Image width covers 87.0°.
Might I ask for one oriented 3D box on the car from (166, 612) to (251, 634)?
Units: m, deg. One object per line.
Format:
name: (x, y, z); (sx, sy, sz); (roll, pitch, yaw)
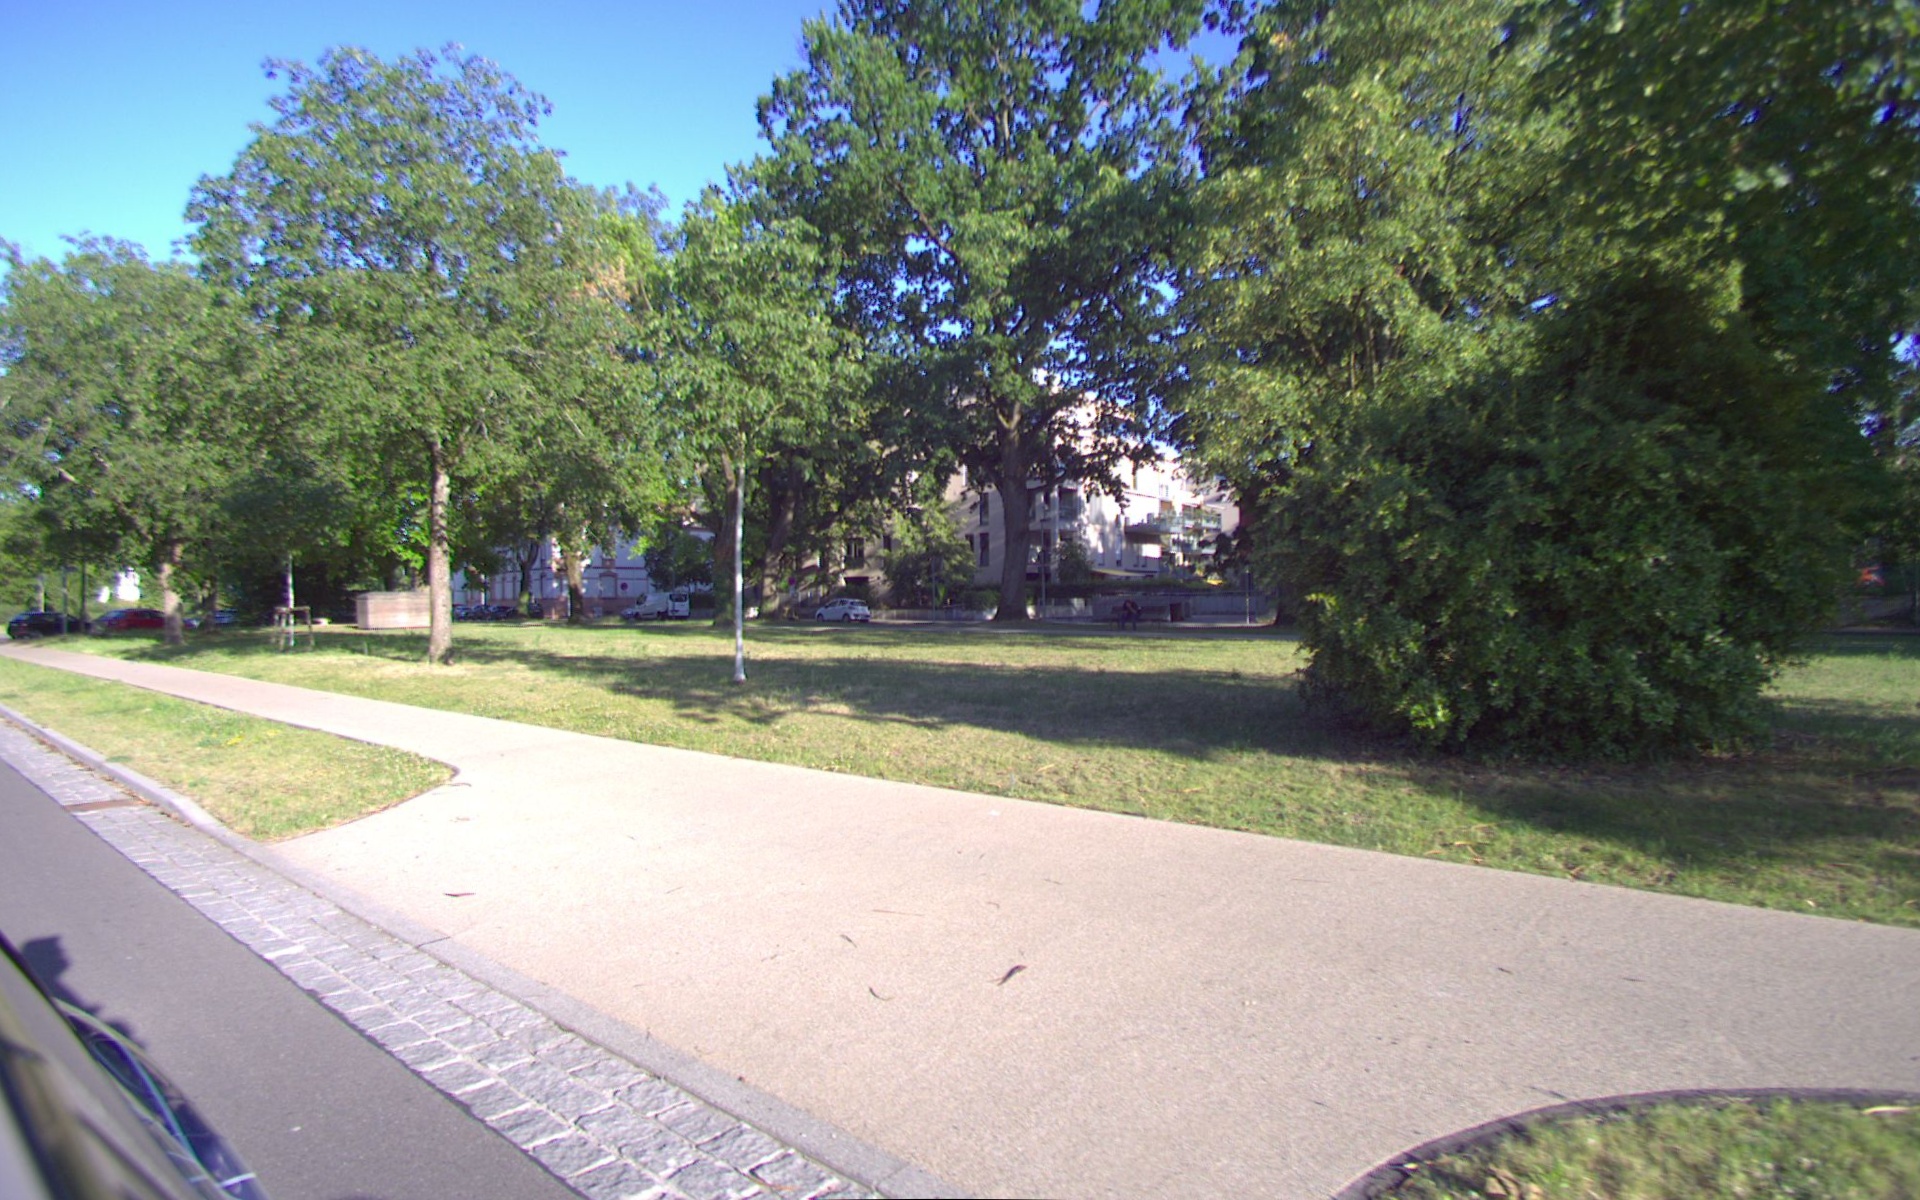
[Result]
car: (-49.631, 1.498, 66.951); (1.825, 1.411, 4.250); (0, 0, 19)

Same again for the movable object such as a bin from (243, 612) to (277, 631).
movable object such as a bin: (-37.225, 1.118, 53.823); (0.950, 0.997, 1.314); (0, 0, 44)

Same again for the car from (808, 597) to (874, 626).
car: (-7.183, 0.684, 61.116); (3.736, 1.630, 1.973); (-1, 0, 41)

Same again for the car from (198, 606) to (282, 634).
car: (-44.731, 1.235, 62.961); (1.877, 1.586, 3.973); (1, 1, 20)

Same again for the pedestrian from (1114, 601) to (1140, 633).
pedestrian: (5.205, 0.523, 31.580); (0.541, 0.994, 0.611); (0, 0, -38)

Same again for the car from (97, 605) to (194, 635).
car: (-46.510, 1.114, 57.876); (1.874, 1.586, 3.979); (1, 1, 16)

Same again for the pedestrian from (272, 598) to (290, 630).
pedestrian: (-36.606, 0.739, 54.565); (0.672, 1.708, 0.655); (-1, 0, 43)

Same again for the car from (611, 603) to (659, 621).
car: (-30.704, 1.156, 95.652); (1.890, 1.586, 3.946); (1, 1, 41)

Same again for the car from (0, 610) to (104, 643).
car: (-48.093, 1.361, 53.532); (1.874, 1.586, 3.979); (1, 1, 16)

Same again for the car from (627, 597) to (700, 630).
car: (-20.234, 0.915, 68.931); (4.971, 2.130, 2.639); (-1, 0, 44)
